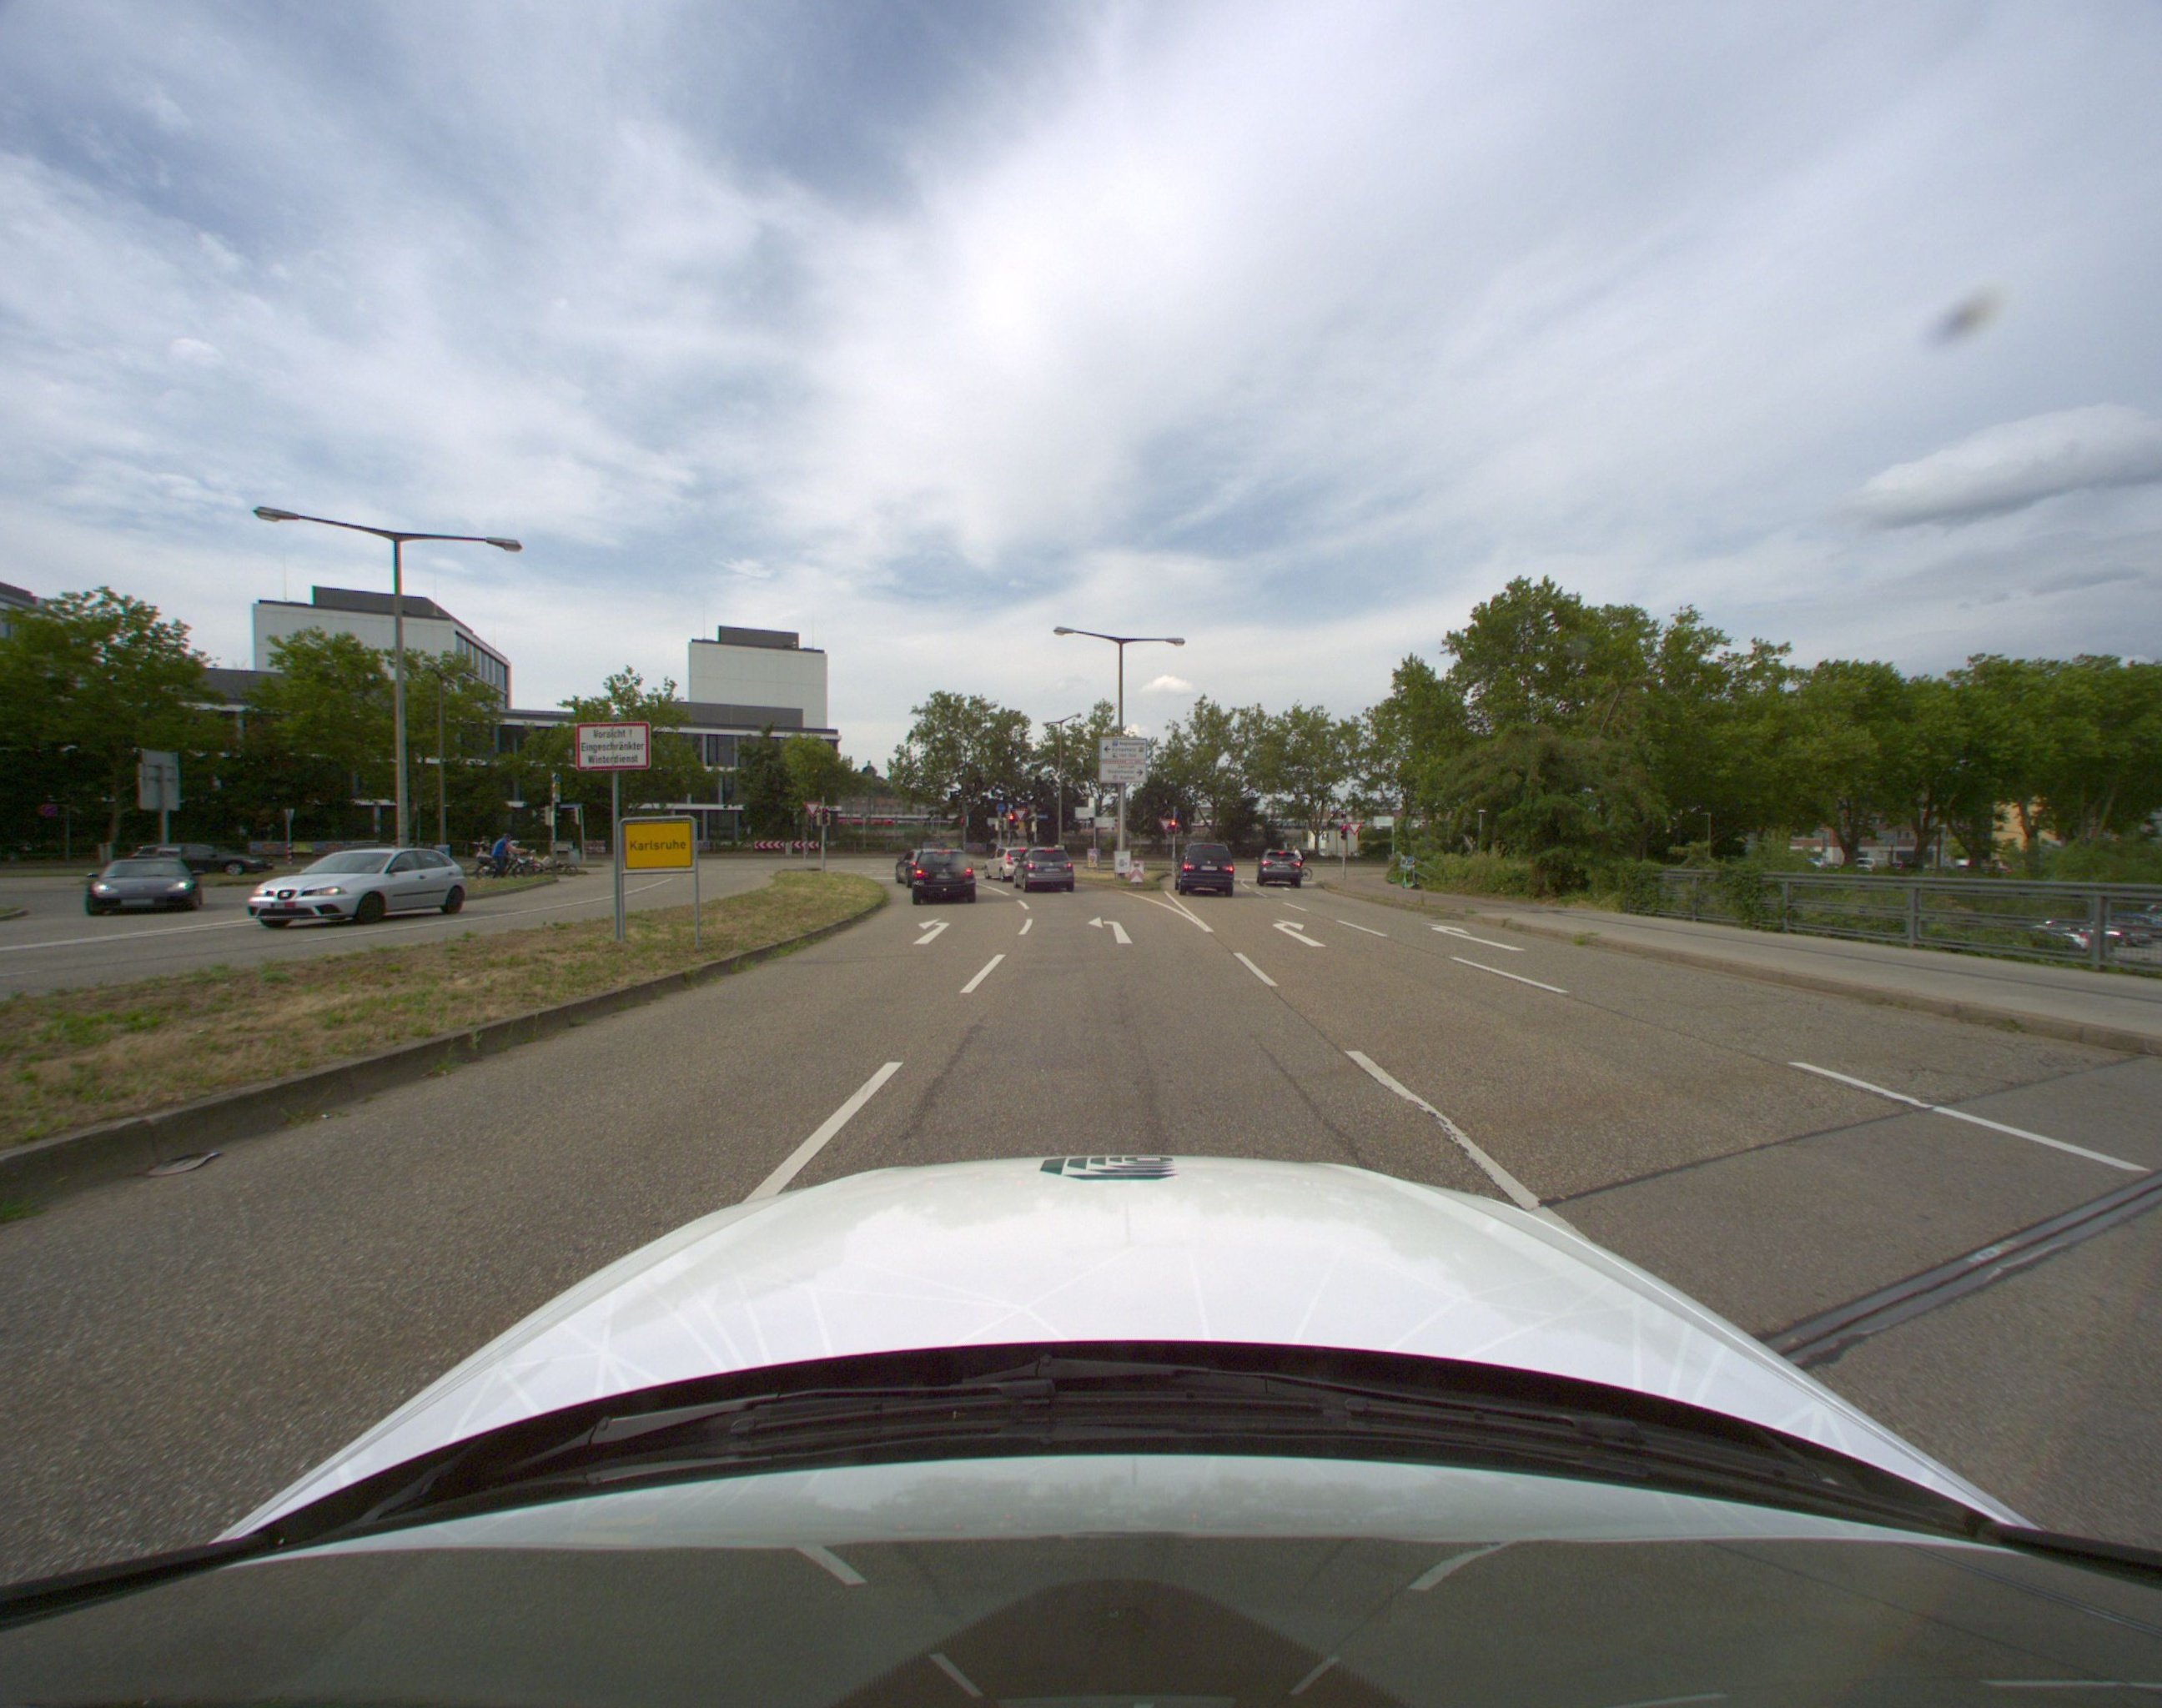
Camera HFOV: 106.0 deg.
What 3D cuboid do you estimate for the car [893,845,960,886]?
[{"bbox_3d":[-6.125,0.383,31.869,1.824,1.414,4.745,0,1,-20],"label":"car"}]

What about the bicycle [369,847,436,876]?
[{"bbox_3d":[-25.594,0.265,30.737,1.917,1.013,0.621,-1,2,-40],"label":"bicycle"}]

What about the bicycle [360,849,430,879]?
[{"bbox_3d":[-25.207,0.353,29.955,1.918,1.013,0.621,-1,2,-45],"label":"bicycle"}]

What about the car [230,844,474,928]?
[{"bbox_3d":[-13.914,0.535,15.883,1.615,1.410,3.850,-1,0,-8],"label":"car"}]

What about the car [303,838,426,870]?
[{"bbox_3d":[-33.090,-0.034,37.686,1.681,1.367,4.095,1,1,43],"label":"car"}]

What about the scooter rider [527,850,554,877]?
[{"bbox_3d":[-23.802,0.395,35.860,0.922,1.137,0.799,-1,2,-41],"label":"scooter rider"}]

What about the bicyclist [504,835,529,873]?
[{"bbox_3d":[-23.513,-0.008,33.905,0.784,1.581,0.649,0,1,-30],"label":"bicyclist"}]

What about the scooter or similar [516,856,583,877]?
[{"bbox_3d":[-23.542,0.536,36.096,2.399,0.849,0.799,-1,2,-41],"label":"scooter or similar"}]

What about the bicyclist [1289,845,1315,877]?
[{"bbox_3d":[11.996,0.346,44.220,1.101,1.696,0.818,1,1,36],"label":"bicyclist"}]

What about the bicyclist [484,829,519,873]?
[{"bbox_3d":[-22.003,-0.132,30.923,0.801,1.656,0.889,1,1,37],"label":"bicyclist"}]

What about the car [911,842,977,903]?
[{"bbox_3d":[-4.159,0.494,24.307,1.758,1.575,4.020,1,2,-12],"label":"car"}]

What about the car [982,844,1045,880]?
[{"bbox_3d":[-3.029,0.285,35.777,1.747,1.482,4.054,0,1,-20],"label":"car"}]

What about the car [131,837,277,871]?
[{"bbox_3d":[-38.912,-0.037,36.270,4.075,1.450,1.690,0,1,-23],"label":"car"}]

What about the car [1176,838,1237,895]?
[{"bbox_3d":[4.186,0.377,27.663,1.742,1.724,4.144,2,0,5],"label":"car"}]

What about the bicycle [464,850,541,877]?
[{"bbox_3d":[-21.964,0.354,30.986,0.801,0.952,2.250,1,1,37],"label":"bicycle"}]

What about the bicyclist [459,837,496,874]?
[{"bbox_3d":[-23.856,0.037,32.213,1.121,1.436,0.641,-1,2,-33],"label":"bicyclist"}]

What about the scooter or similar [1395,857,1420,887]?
[{"bbox_3d":[12.843,0.696,32.071,0.396,1.183,1.278,0,0,-5],"label":"scooter or similar"}]

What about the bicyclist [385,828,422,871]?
[{"bbox_3d":[-25.047,-0.182,30.093,1.025,1.539,0.621,-1,2,-41],"label":"bicyclist"}]

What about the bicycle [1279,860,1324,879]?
[{"bbox_3d":[11.954,0.831,44.255,2.206,0.952,0.817,1,1,37],"label":"bicycle"}]

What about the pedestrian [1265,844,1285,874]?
[{"bbox_3d":[11.050,0.277,46.338,1.040,1.710,0.856,1,1,13],"label":"pedestrian"}]

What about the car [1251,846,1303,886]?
[{"bbox_3d":[8.705,0.504,36.448,1.741,1.643,4.146,2,0,7],"label":"car"}]

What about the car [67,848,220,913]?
[{"bbox_3d":[-23.420,0.590,20.524,1.836,1.446,4.302,0,0,-40],"label":"car"}]

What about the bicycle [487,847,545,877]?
[{"bbox_3d":[-23.510,0.309,33.928,1.913,1.210,0.637,0,2,-30],"label":"bicycle"}]

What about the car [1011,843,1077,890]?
[{"bbox_3d":[-1.399,0.394,29.256,1.742,1.546,4.065,0,1,-12],"label":"car"}]

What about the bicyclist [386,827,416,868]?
[{"bbox_3d":[-25.616,-0.261,30.685,0.845,1.529,0.621,-1,2,-40],"label":"bicyclist"}]
